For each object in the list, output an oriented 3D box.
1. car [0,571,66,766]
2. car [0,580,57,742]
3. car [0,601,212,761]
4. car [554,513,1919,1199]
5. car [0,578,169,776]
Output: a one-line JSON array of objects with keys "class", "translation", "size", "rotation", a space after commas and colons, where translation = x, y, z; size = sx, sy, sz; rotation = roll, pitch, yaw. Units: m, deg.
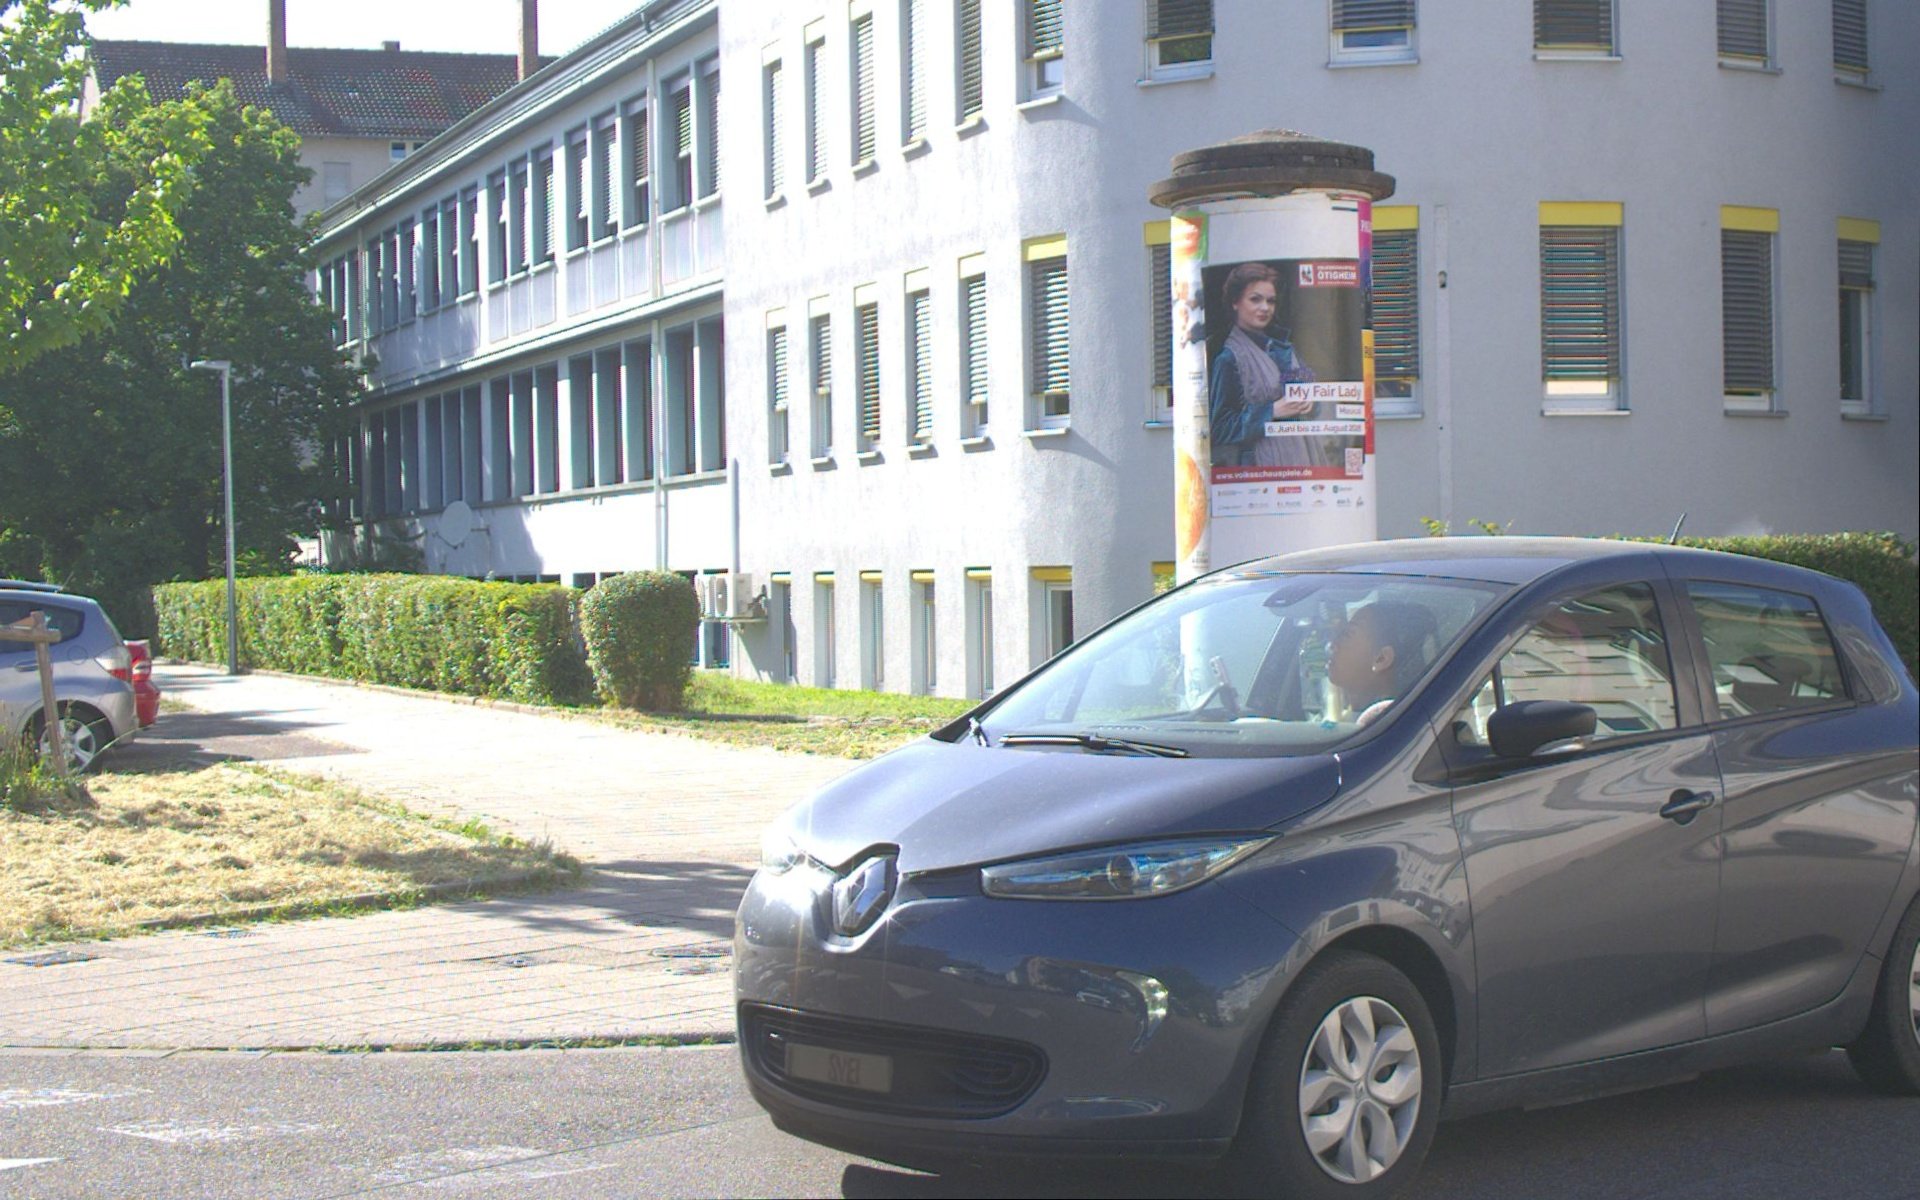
[{"class": "car", "translation": [-10.503, 0.588, 31.384], "size": [4.278, 1.759, 2.000], "rotation": [1, -1, -22]}, {"class": "car", "translation": [-11.256, 0.569, 34.106], "size": [4.202, 1.590, 2.000], "rotation": [1, -1, -22]}, {"class": "car", "translation": [-8.851, 0.704, 28.575], "size": [4.869, 1.270, 1.729], "rotation": [-1, 0, -24]}, {"class": "car", "translation": [1.155, 0.584, 9.011], "size": [4.126, 1.499, 1.842], "rotation": [0, 0, -44]}, {"class": "car", "translation": [-8.347, 0.602, 26.592], "size": [4.087, 1.487, 1.729], "rotation": [-1, 1, -23]}]
